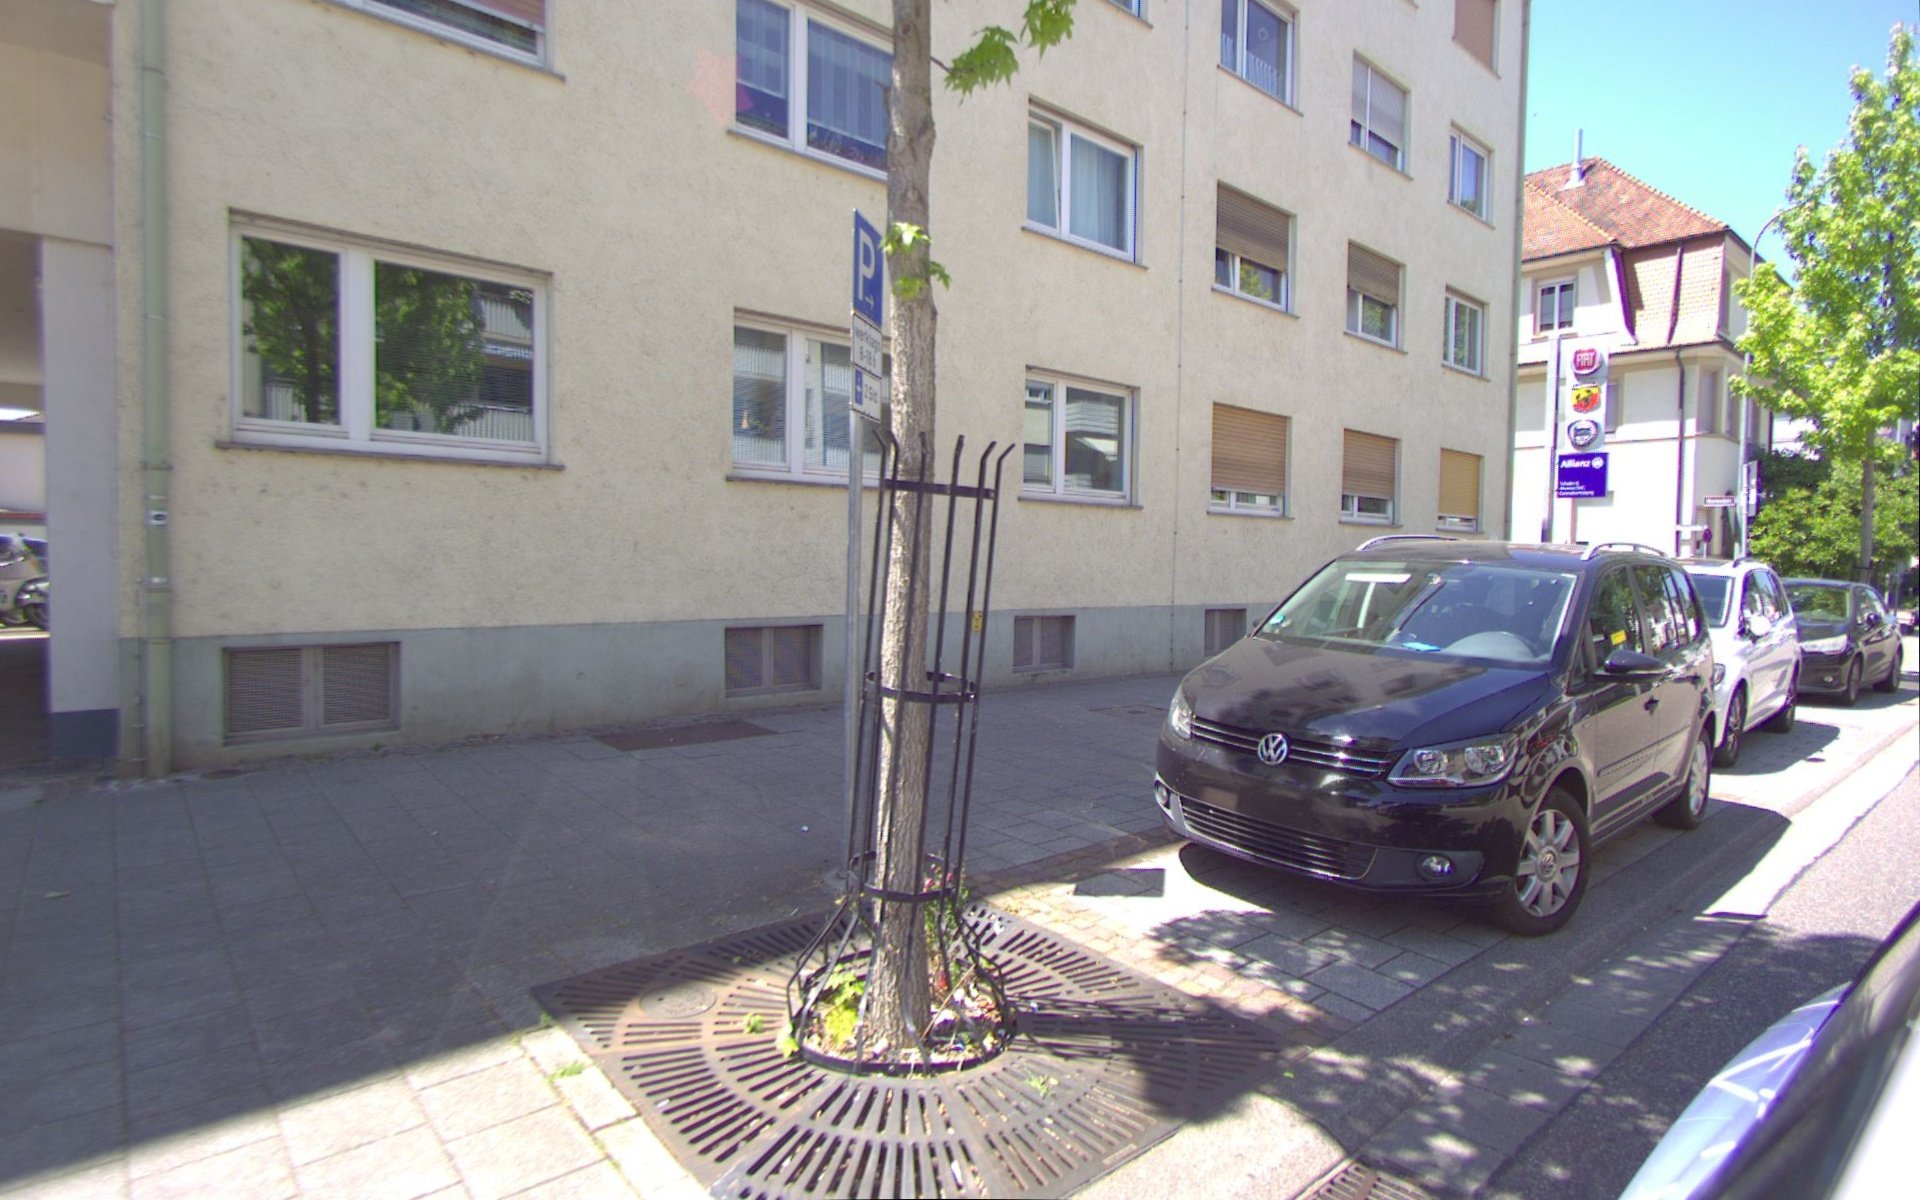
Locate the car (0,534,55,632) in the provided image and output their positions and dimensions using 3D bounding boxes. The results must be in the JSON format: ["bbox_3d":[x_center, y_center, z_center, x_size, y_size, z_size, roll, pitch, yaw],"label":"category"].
[{"bbox_3d":[-16.026,-0.279,14.933,3.931,1.471,1.732,-1,2,-41],"label":"car"}]

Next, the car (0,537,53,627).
[{"bbox_3d":[-17.330,-0.317,16.353,3.931,1.471,1.732,-1,2,-41],"label":"car"}]

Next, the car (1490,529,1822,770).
[{"bbox_3d":[6.539,0.303,9.328,4.065,1.743,1.690,-1,2,-44],"label":"car"}]

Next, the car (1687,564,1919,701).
[{"bbox_3d":[11.121,0.318,13.229,4.061,1.506,1.692,-1,2,-41],"label":"car"}]

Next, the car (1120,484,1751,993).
[{"bbox_3d":[2.771,0.392,5.421,3.934,1.742,1.691,-1,5,-44],"label":"car"}]
